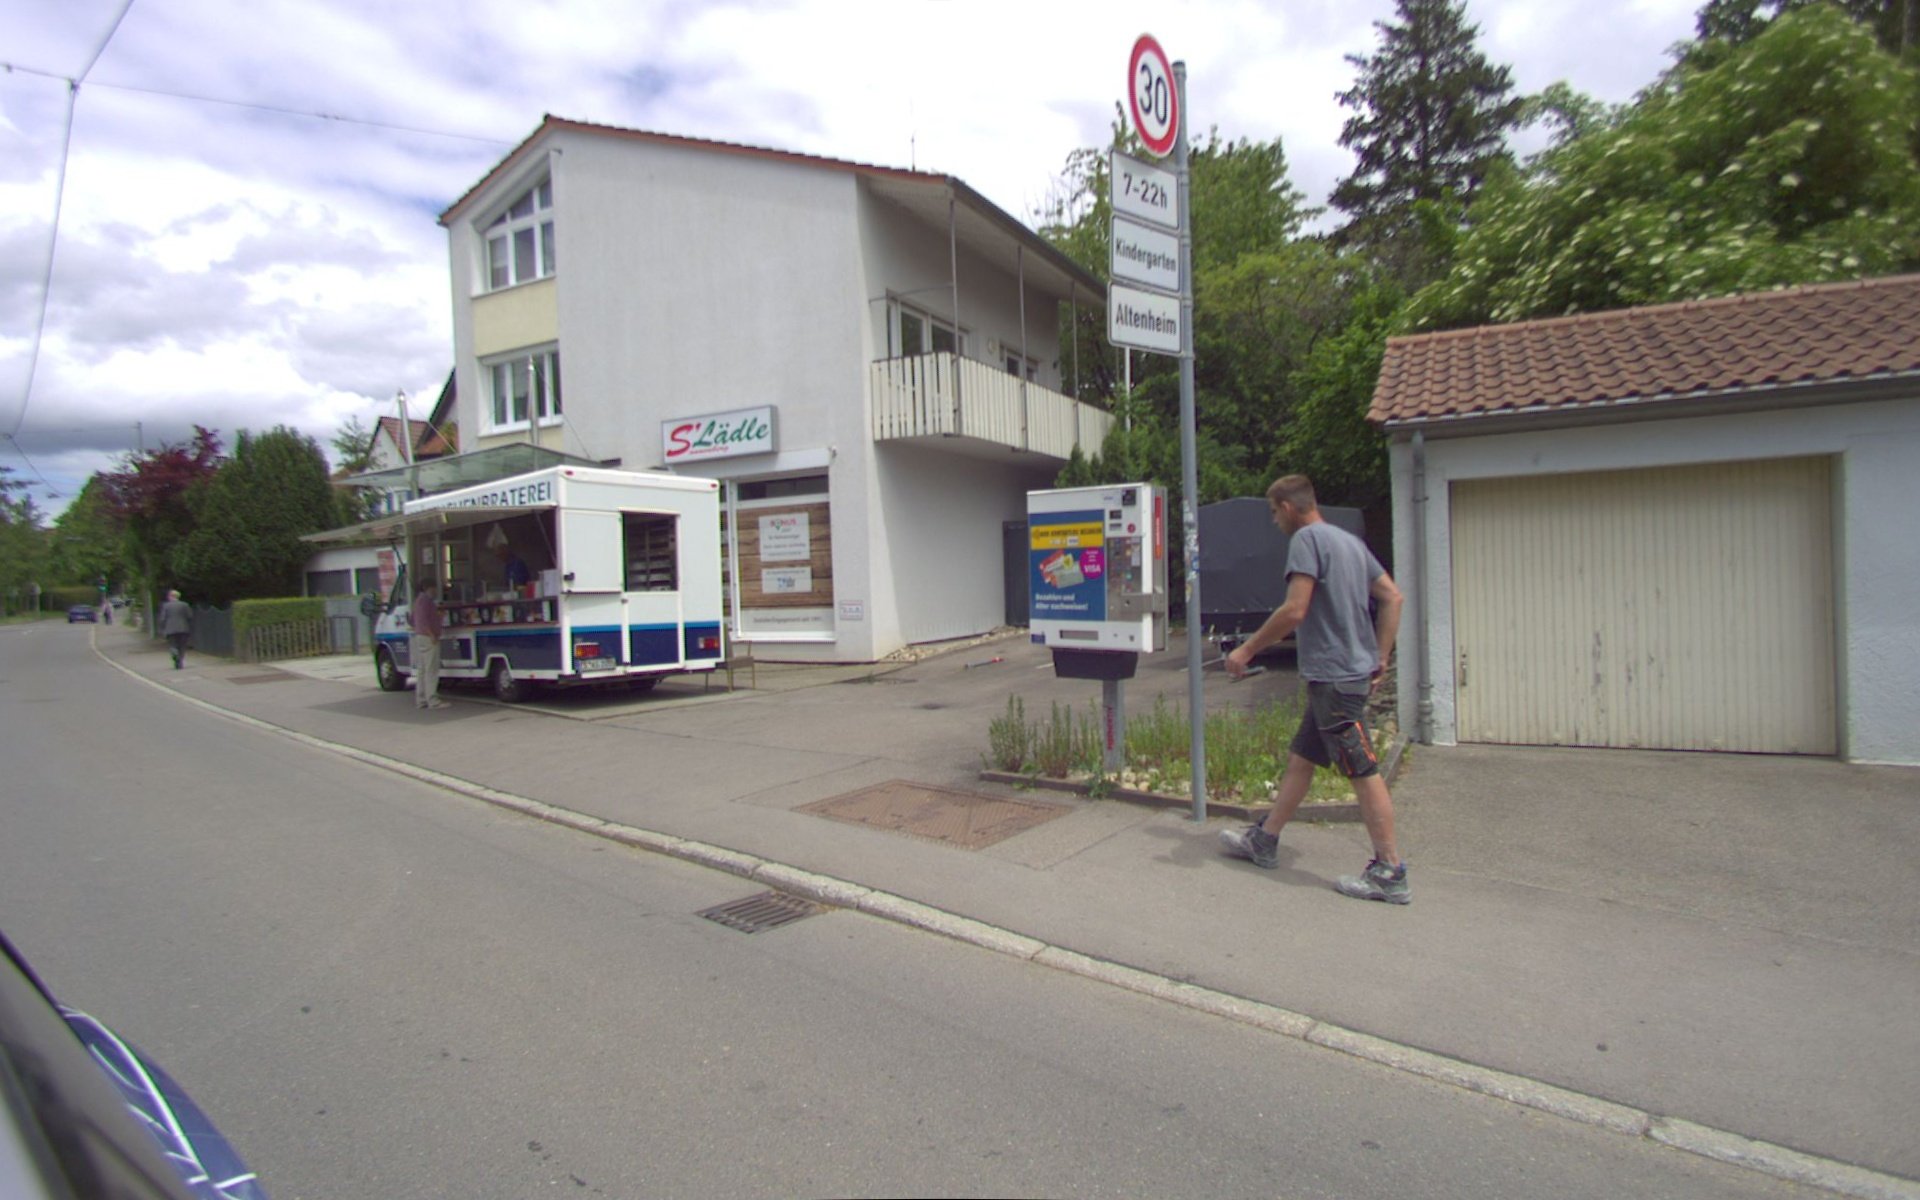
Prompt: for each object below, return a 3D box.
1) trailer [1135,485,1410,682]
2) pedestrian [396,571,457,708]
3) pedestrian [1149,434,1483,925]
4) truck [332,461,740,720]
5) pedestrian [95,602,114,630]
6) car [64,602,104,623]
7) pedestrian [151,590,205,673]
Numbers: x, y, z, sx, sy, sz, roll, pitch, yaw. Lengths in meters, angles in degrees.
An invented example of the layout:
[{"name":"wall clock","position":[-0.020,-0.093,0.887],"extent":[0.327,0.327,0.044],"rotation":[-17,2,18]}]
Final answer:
[{"name":"trailer","position":[4.261,-0.315,13.186],"extent":[1.702,2.095,4.816],"rotation":[-3,2,38]},{"name":"pedestrian","position":[-6.880,0.497,13.044],"extent":[0.597,1.707,0.397],"rotation":[-1,3,40]},{"name":"pedestrian","position":[1.631,0.299,4.703],"extent":[0.725,1.960,1.218],"rotation":[-5,4,-45]},{"name":"truck","position":[-6.227,-0.128,14.292],"extent":[6.702,2.861,2.448],"rotation":[-1,2,40]},{"name":"pedestrian","position":[-57.125,1.065,67.572],"extent":[0.809,1.757,0.605],"rotation":[-5,3,-39]},{"name":"car","position":[-72.624,1.000,83.968],"extent":[1.670,1.442,3.940],"rotation":[-3,4,-29]},{"name":"pedestrian","position":[-17.063,0.658,22.077],"extent":[0.714,1.699,1.110],"rotation":[-5,5,-45]}]
